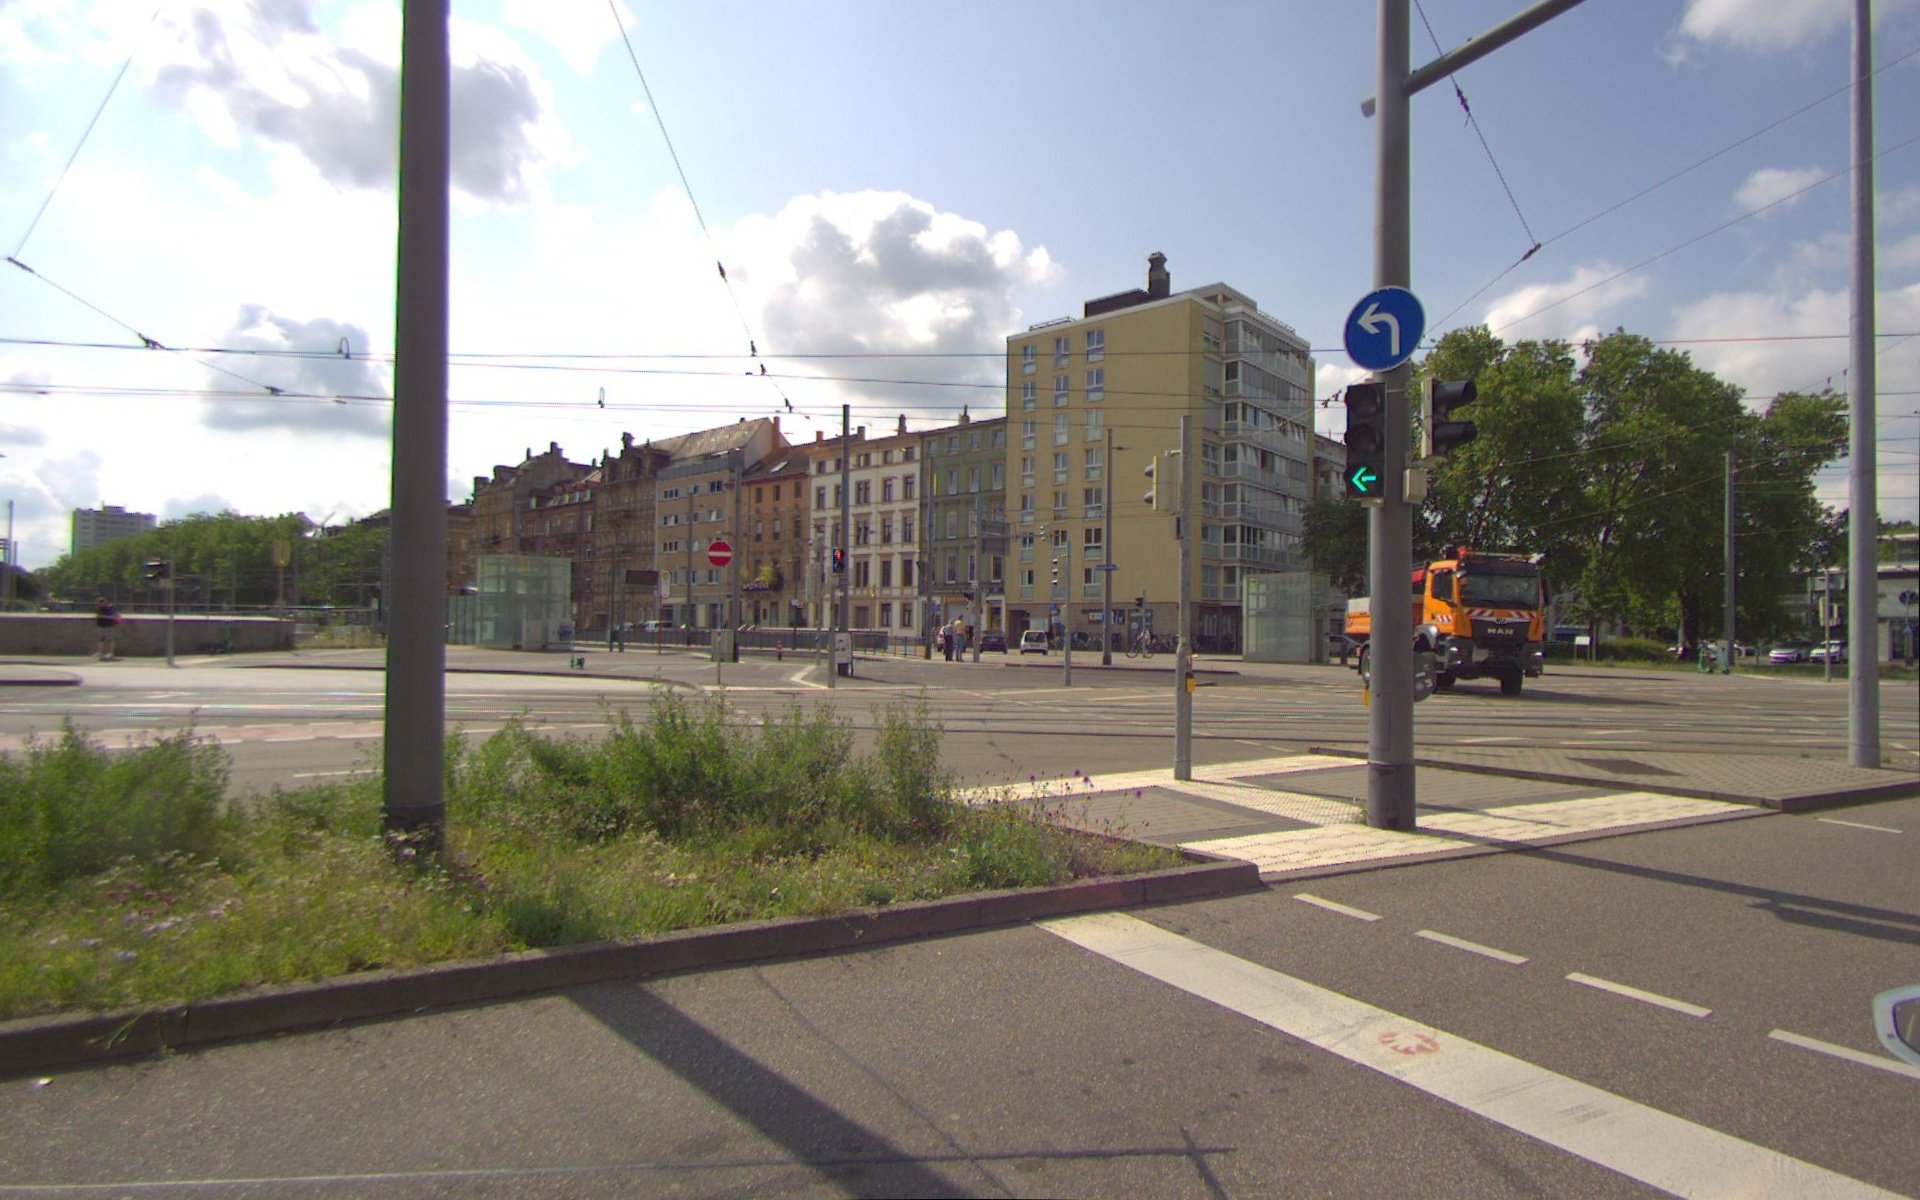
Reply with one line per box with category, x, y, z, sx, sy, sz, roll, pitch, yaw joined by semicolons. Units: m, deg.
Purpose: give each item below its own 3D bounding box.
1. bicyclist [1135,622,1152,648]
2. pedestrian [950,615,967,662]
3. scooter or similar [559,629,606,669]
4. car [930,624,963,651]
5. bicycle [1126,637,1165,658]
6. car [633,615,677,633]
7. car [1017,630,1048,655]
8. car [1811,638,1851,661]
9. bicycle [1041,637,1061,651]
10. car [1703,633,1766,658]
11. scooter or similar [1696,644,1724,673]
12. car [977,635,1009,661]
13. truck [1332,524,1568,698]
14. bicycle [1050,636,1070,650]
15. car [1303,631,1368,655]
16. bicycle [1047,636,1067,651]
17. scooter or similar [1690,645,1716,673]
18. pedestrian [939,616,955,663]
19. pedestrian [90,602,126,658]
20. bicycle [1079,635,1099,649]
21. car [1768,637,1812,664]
bicyclist;9.881;1.868;53.987;0.772;1.354;0.393;2;0;-22
pedestrian;-0.076;1.682;43.755;0.568;2.040;0.426;0;-1;31
scooter or similar;-11.579;1.487;30.785;1.148;1.182;0.811;0;-2;33
car;-0.829;2.444;65.455;2.021;1.669;4.597;1;-2;0
bicycle;9.967;2.562;54.027;2.069;1.121;0.542;2;-1;-21
car;-31.913;2.544;105.054;4.677;1.886;1.993;-2;-3;37
car;4.406;2.624;61.666;1.743;1.472;3.498;1;-3;2
car;68.749;3.873;79.268;3.967;1.704;1.771;2;-2;-40
bicycle;6.407;3.062;70.629;1.442;0.935;0.292;0;-1;40
car;69.543;4.090;90.260;1.974;2.040;3.974;3;0;-26
scooter or similar;33.596;2.614;45.025;0.374;1.212;1.064;2;0;-4
car;2.134;3.010;63.150;1.900;1.479;4.602;1;-2;3
truck;13.223;0.297;28.106;2.780;4.062;8.074;2;0;2
bicycle;7.062;3.053;71.076;1.442;0.935;0.292;0;-1;40
car;27.428;3.119;73.484;4.036;1.534;1.800;2;-1;42
bicycle;6.856;3.061;70.833;1.442;0.935;0.292;1;-1;40
scooter or similar;33.110;2.617;44.768;0.374;1.212;1.065;2;0;6
pedestrian;-0.568;1.723;44.216;0.506;2.040;0.502;0;-1;31
pedestrian;-28.012;0.980;33.042;0.552;1.818;0.720;1;-1;-5
bicycle;8.906;2.888;69.154;1.444;0.935;0.291;2;0;43
car;67.111;4.096;81.169;3.968;2.040;1.977;3;0;-40
